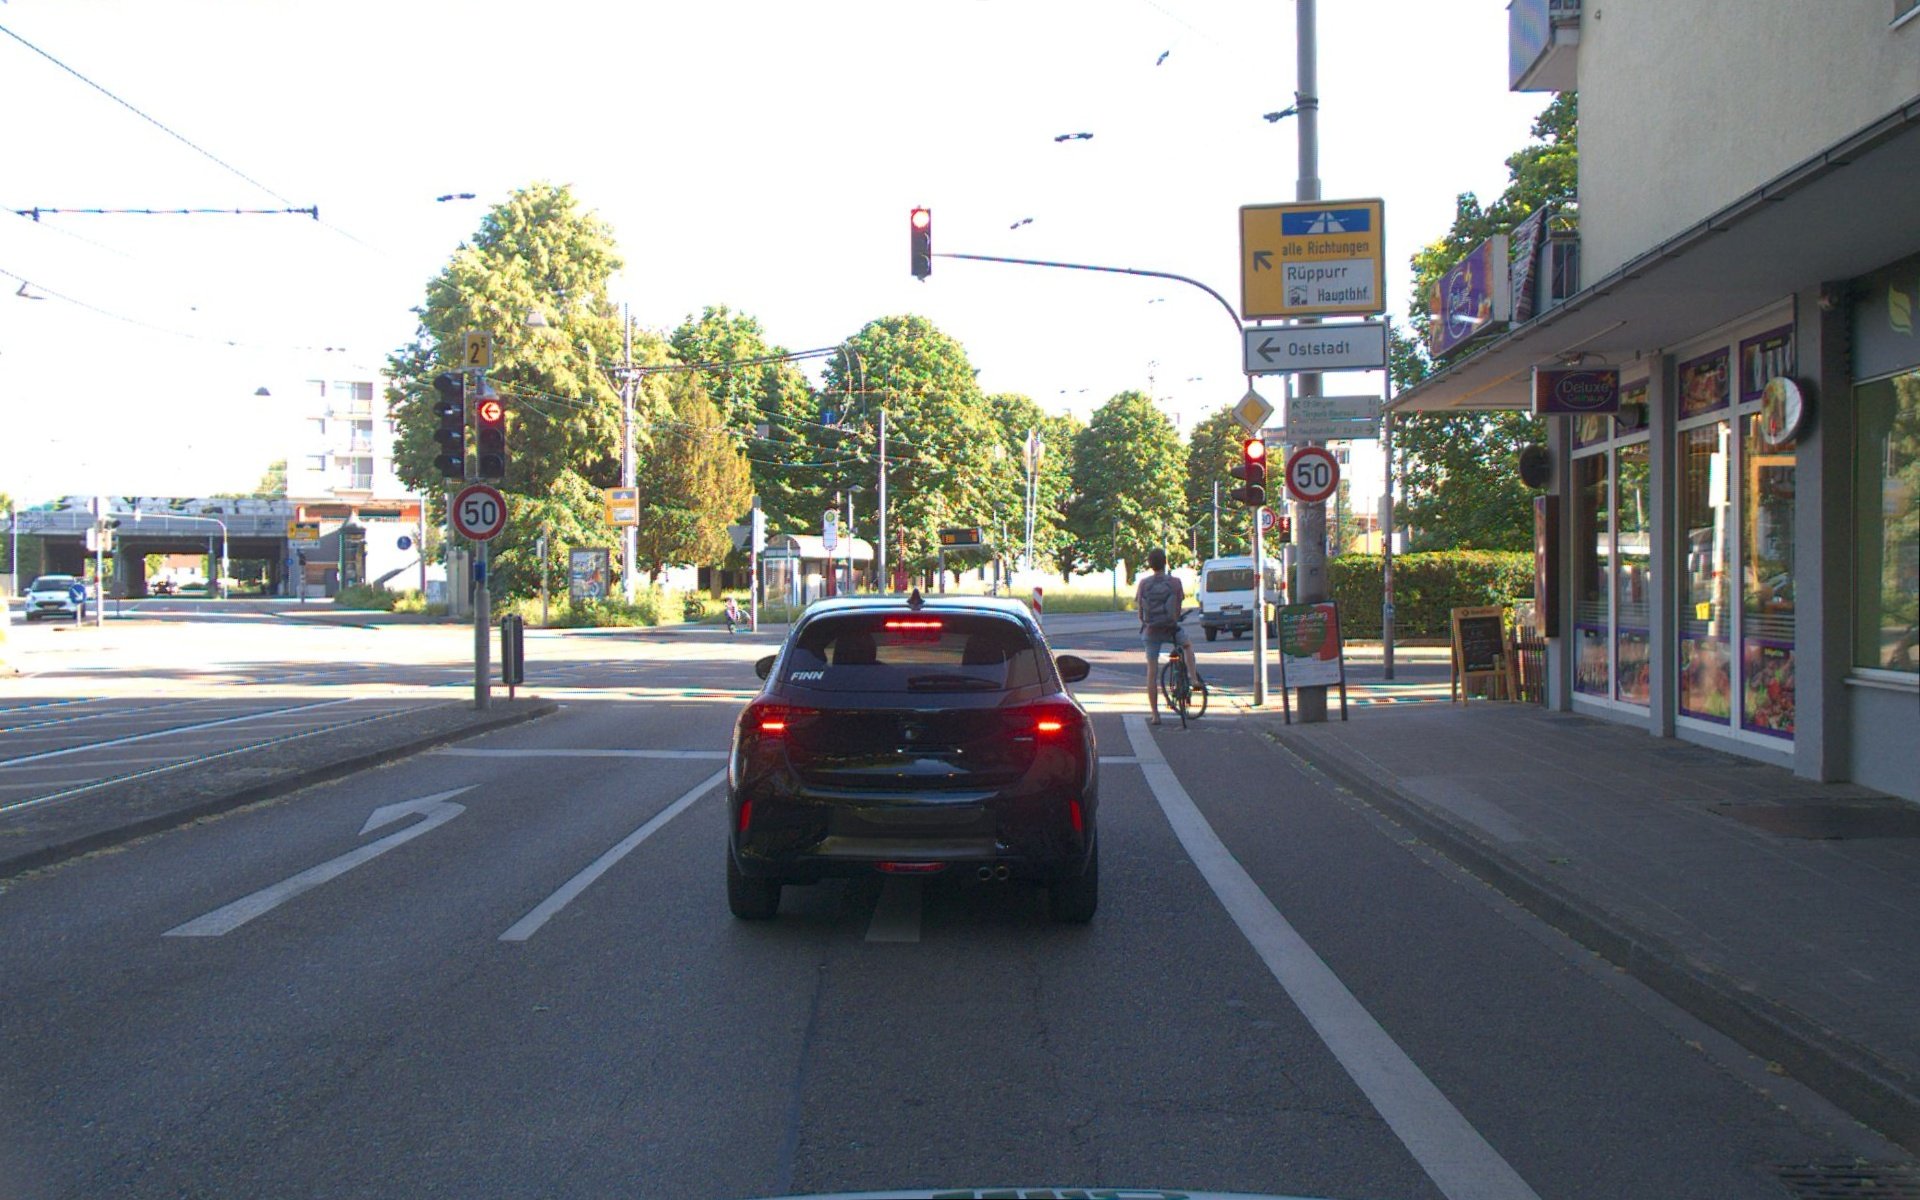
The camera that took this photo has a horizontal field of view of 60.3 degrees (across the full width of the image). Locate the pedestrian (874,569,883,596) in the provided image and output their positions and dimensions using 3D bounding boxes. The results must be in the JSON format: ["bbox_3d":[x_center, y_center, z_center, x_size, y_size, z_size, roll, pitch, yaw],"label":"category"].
[{"bbox_3d":[-5.795,-1.261,117.255,0.592,1.904,0.519,1,-1,-7],"label":"pedestrian"}]

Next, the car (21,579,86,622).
[{"bbox_3d":[-35.724,0.028,65.266,1.860,1.613,3.809,1,0,-24],"label":"car"}]

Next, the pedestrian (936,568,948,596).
[{"bbox_3d":[-1.197,-1.209,110.617,0.597,1.904,0.514,1,-1,-31],"label":"pedestrian"}]

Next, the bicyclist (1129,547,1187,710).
[{"bbox_3d":[2.134,0.296,17.771,0.522,1.722,0.568,0,0,16],"label":"bicyclist"}]

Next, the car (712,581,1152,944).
[{"bbox_3d":[-0.142,0.649,8.791,1.803,1.487,3.983,0,1,-1],"label":"car"}]

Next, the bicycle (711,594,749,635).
[{"bbox_3d":[-6.434,0.394,46.370,0.780,1.083,2.184,0,1,-1],"label":"bicycle"}]

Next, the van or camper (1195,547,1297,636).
[{"bbox_3d":[8.077,-0.222,46.428,1.987,2.351,4.540,1,0,20],"label":"van or camper"}]

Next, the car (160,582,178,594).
[{"bbox_3d":[-87.417,-1.310,182.804,1.562,1.282,3.394,-1,1,-30],"label":"car"}]

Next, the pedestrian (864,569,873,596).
[{"bbox_3d":[-6.499,-1.271,117.676,0.592,1.904,0.519,1,-1,-7],"label":"pedestrian"}]

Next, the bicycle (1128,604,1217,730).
[{"bbox_3d":[2.324,0.691,17.940,0.737,1.256,2.017,0,1,14],"label":"bicycle"}]

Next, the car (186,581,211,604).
[{"bbox_3d":[-59.245,-0.573,128.768,1.732,1.713,3.712,1,0,-25],"label":"car"}]
